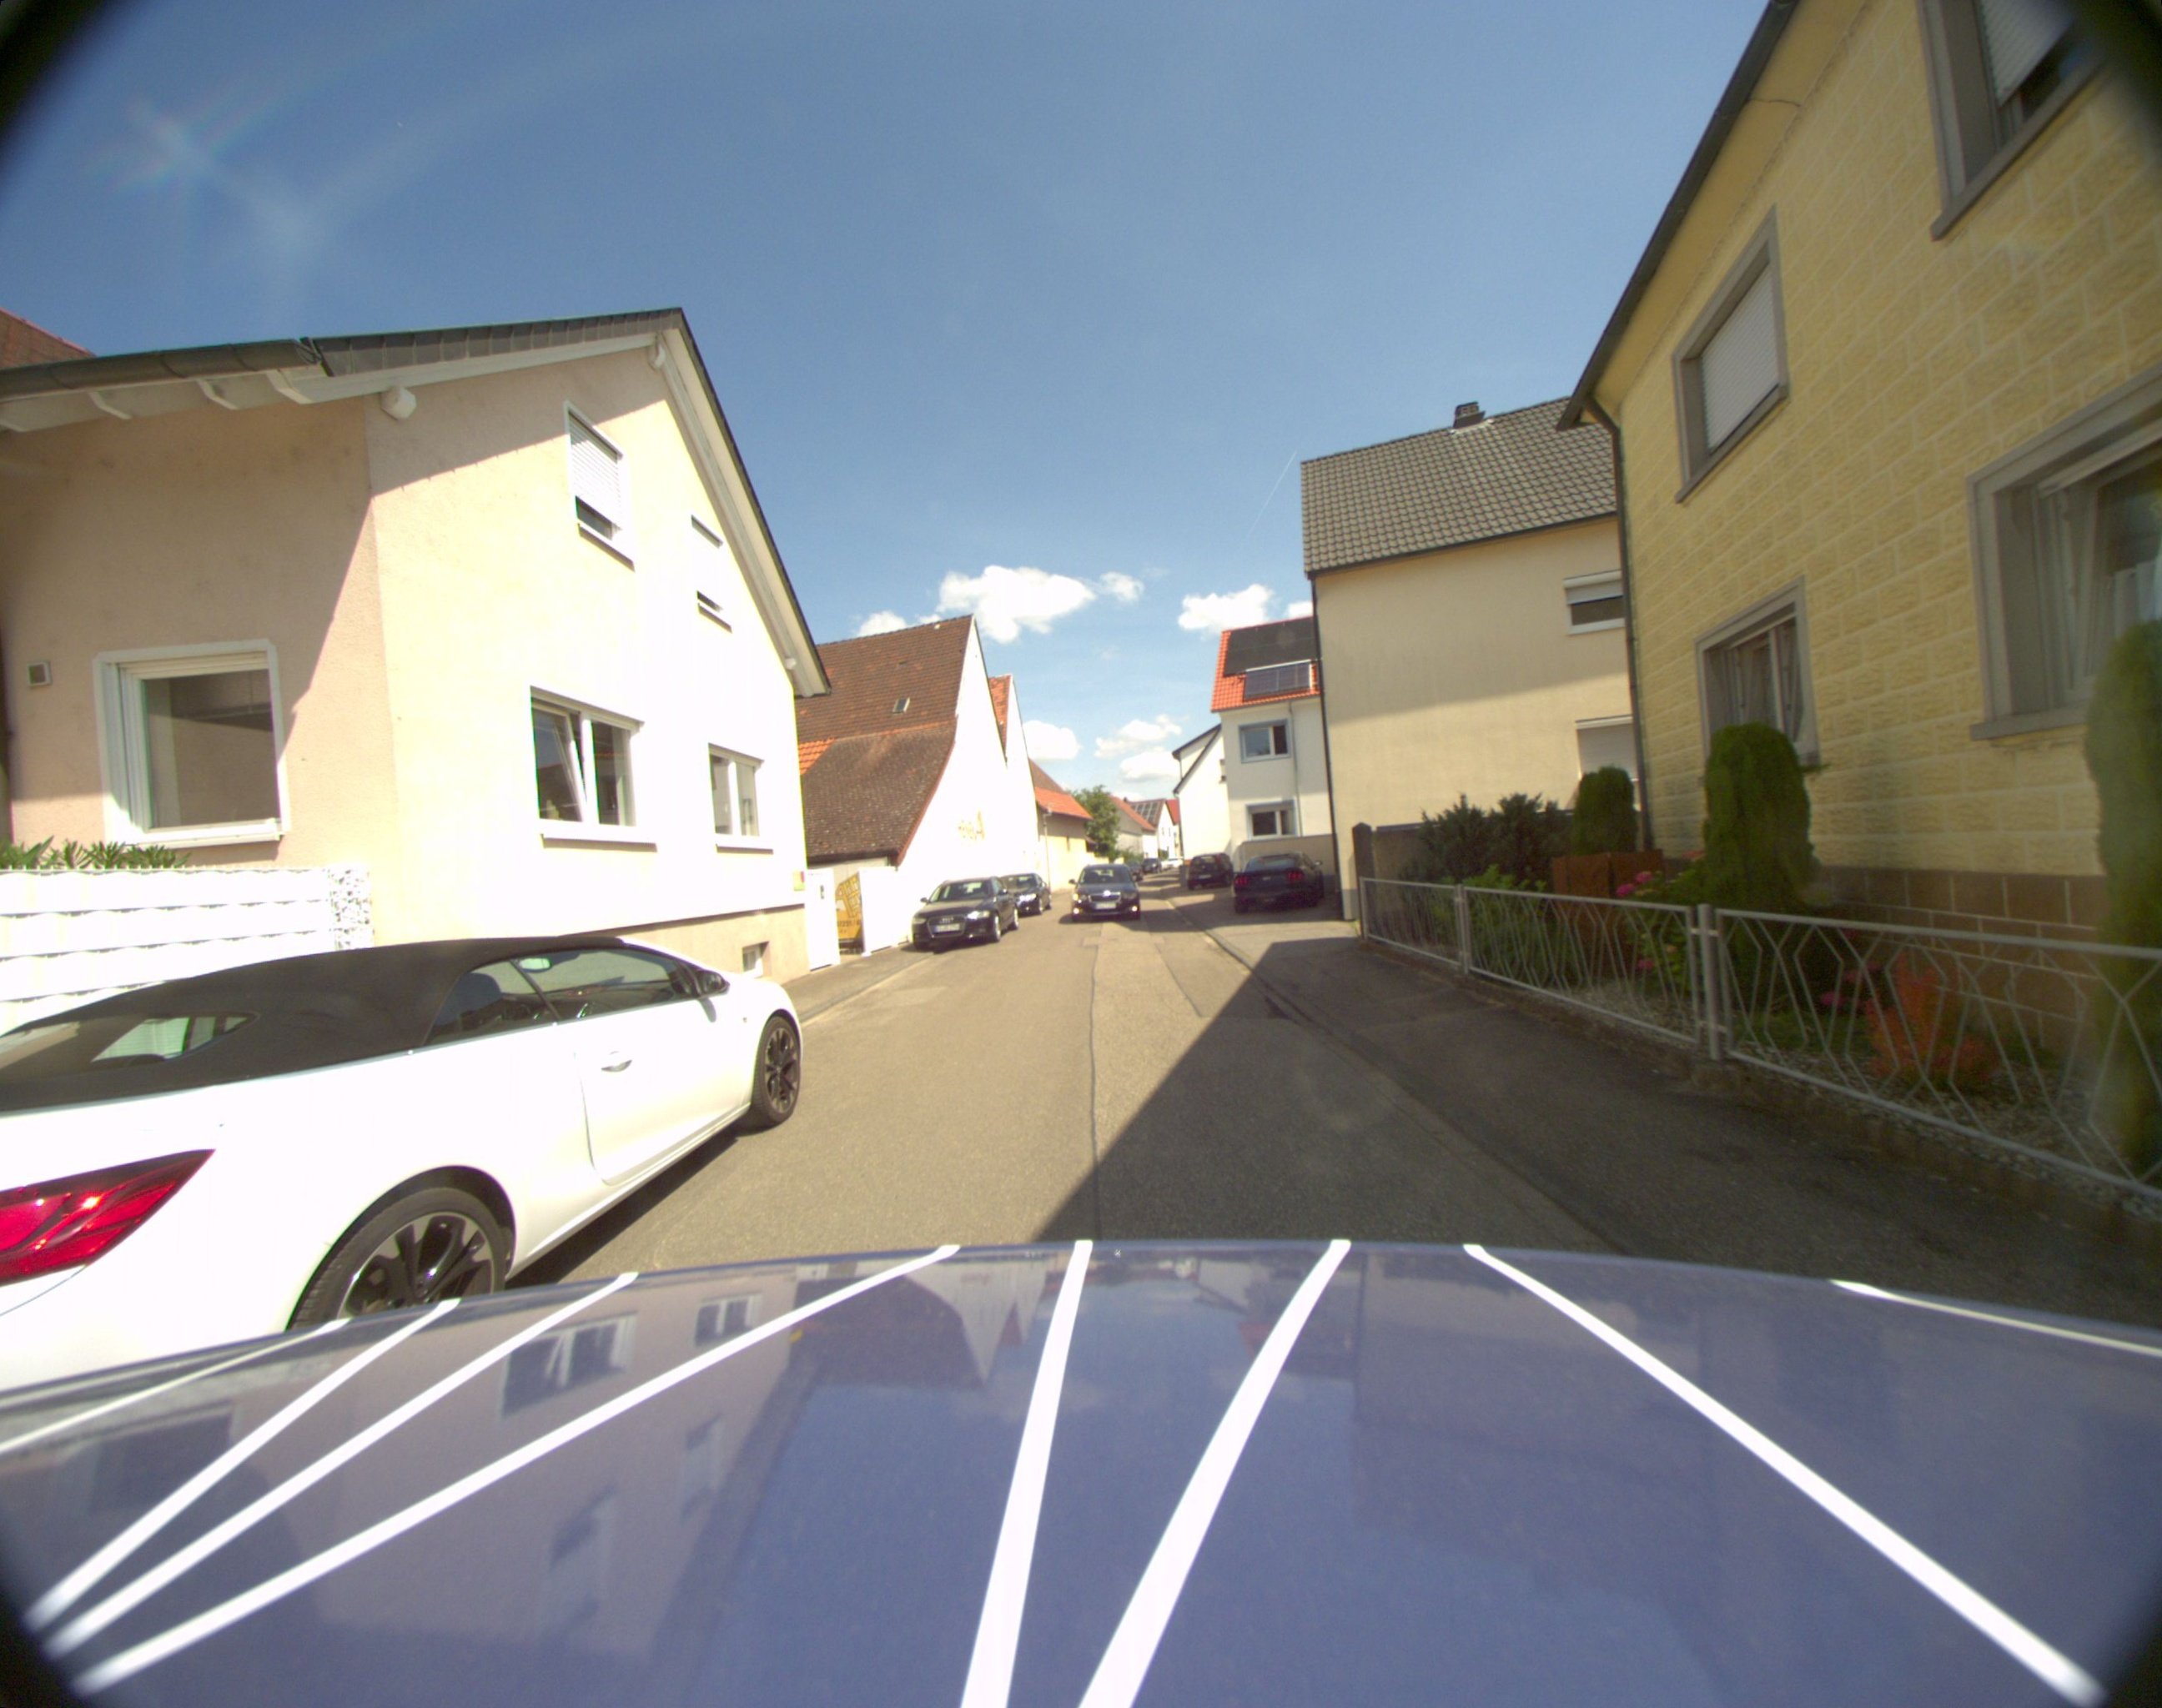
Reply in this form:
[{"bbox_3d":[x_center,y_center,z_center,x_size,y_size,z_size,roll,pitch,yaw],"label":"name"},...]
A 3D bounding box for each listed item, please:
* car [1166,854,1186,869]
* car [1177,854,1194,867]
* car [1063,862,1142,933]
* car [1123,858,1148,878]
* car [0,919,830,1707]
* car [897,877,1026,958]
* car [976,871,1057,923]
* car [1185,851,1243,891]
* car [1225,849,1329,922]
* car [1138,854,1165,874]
[{"bbox_3d":[11.499,0.877,91.956,1.783,1.491,4.043,-7,-1,14],"label":"car"},{"bbox_3d":[14.337,0.926,104.134,1.783,1.491,4.043,-7,-1,14],"label":"car"},{"bbox_3d":[0.667,1.071,20.562,1.784,1.526,4.711,-4,0,4],"label":"car"},{"bbox_3d":[4.545,1.147,63.289,1.784,1.470,4.002,-4,0,7],"label":"car"},{"bbox_3d":[-2.974,1.278,3.515,1.900,1.420,4.737,-5,0,0],"label":"car"},{"bbox_3d":[-2.583,1.354,17.655,1.900,1.357,4.738,-5,0,3],"label":"car"},{"bbox_3d":[-2.074,1.384,25.663,1.900,1.357,4.416,-5,0,5],"label":"car"},{"bbox_3d":[5.788,0.683,32.785,1.640,1.446,3.792,-6,-1,20],"label":"car"},{"bbox_3d":[5.010,0.696,18.969,1.772,1.341,4.475,-6,0,22],"label":"car"},{"bbox_3d":[6.715,0.910,72.250,1.783,1.599,4.004,-7,-1,14],"label":"car"}]
